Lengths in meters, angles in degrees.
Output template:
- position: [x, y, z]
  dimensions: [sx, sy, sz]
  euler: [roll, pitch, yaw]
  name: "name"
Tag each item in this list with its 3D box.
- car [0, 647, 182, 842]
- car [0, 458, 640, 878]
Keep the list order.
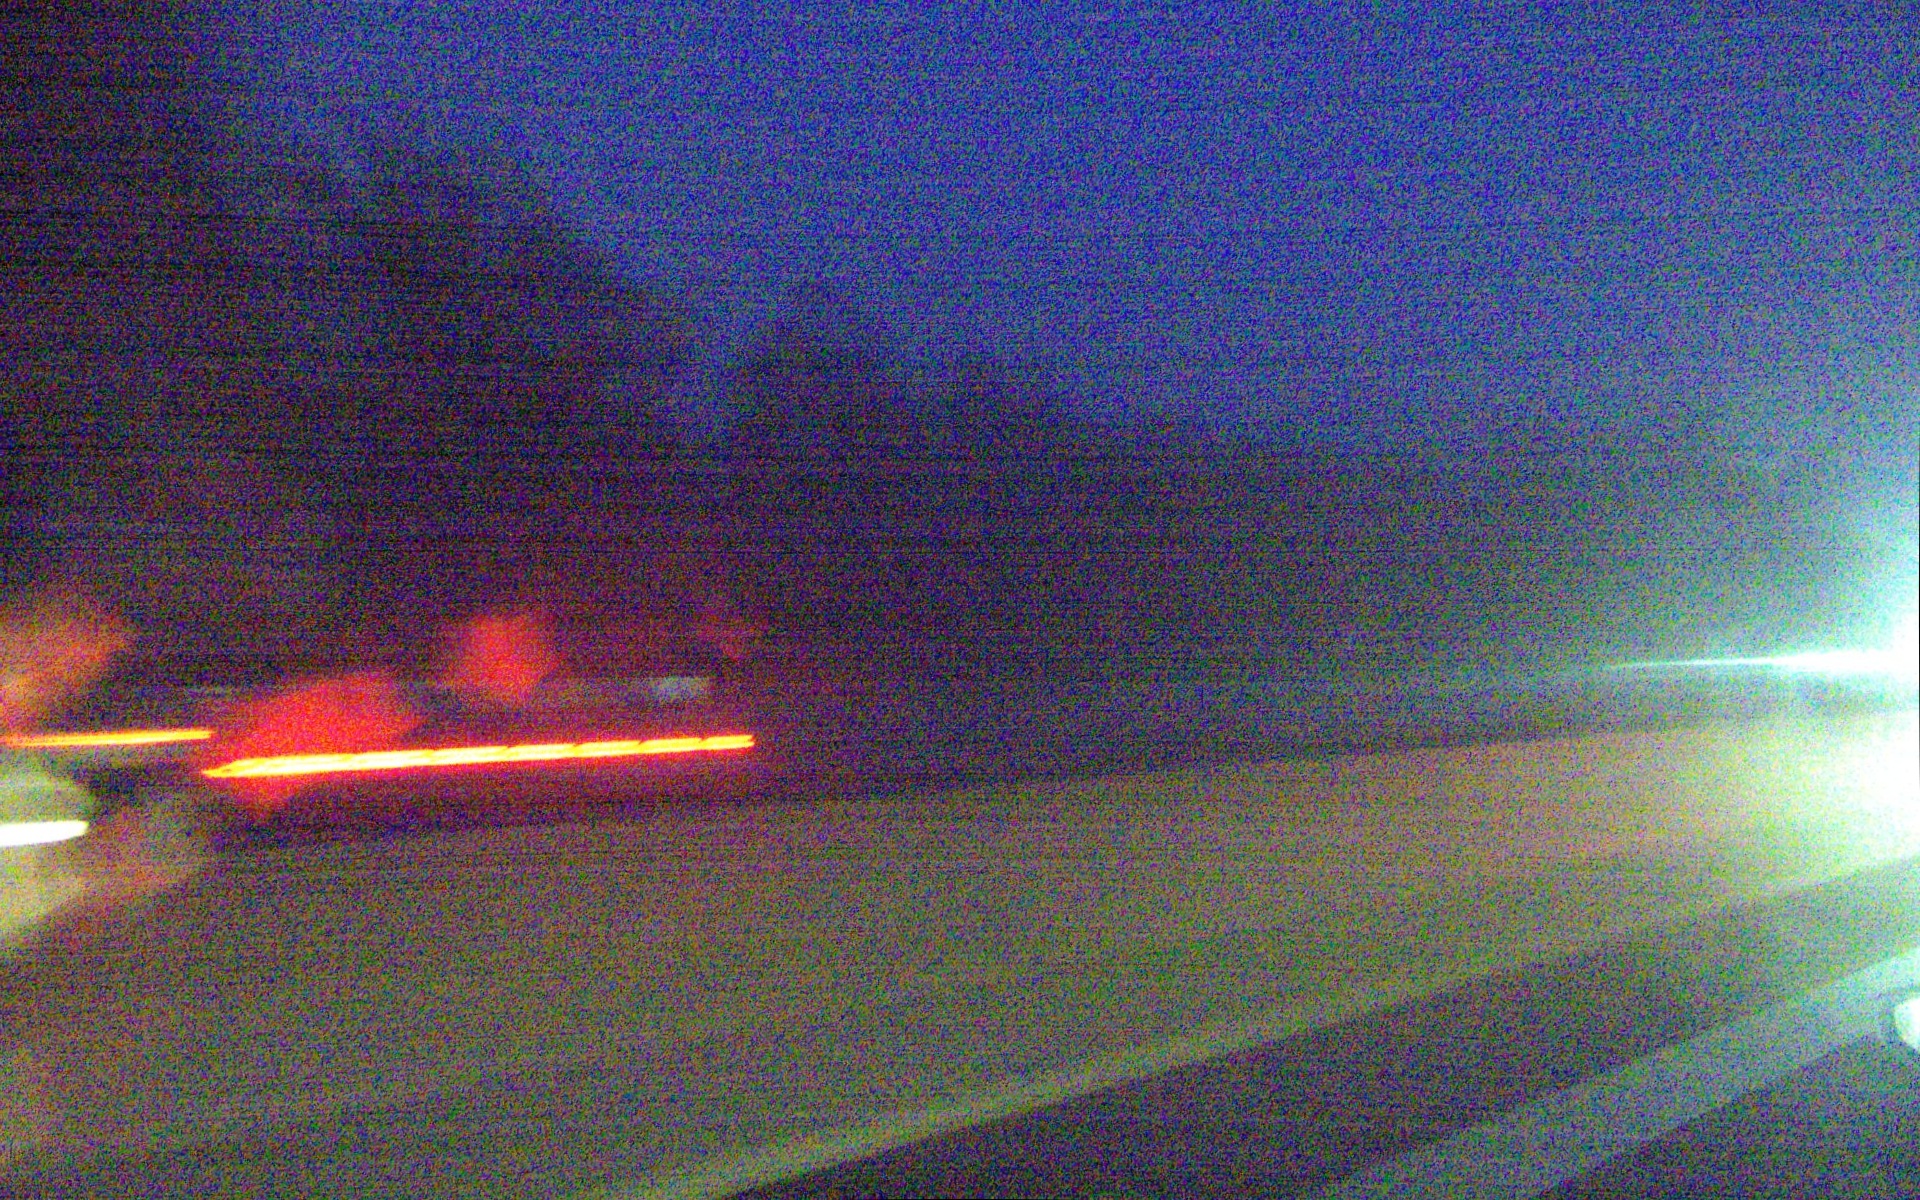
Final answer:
- position: [-9.496, 1.213, 8.538]
  dimensions: [4.331, 1.546, 1.775]
  euler: [2, 0, -31]
  name: "car"
- position: [-4.375, 0.345, 6.092]
  dimensions: [4.331, 2.040, 1.775]
  euler: [2, 0, -31]
  name: "car"
